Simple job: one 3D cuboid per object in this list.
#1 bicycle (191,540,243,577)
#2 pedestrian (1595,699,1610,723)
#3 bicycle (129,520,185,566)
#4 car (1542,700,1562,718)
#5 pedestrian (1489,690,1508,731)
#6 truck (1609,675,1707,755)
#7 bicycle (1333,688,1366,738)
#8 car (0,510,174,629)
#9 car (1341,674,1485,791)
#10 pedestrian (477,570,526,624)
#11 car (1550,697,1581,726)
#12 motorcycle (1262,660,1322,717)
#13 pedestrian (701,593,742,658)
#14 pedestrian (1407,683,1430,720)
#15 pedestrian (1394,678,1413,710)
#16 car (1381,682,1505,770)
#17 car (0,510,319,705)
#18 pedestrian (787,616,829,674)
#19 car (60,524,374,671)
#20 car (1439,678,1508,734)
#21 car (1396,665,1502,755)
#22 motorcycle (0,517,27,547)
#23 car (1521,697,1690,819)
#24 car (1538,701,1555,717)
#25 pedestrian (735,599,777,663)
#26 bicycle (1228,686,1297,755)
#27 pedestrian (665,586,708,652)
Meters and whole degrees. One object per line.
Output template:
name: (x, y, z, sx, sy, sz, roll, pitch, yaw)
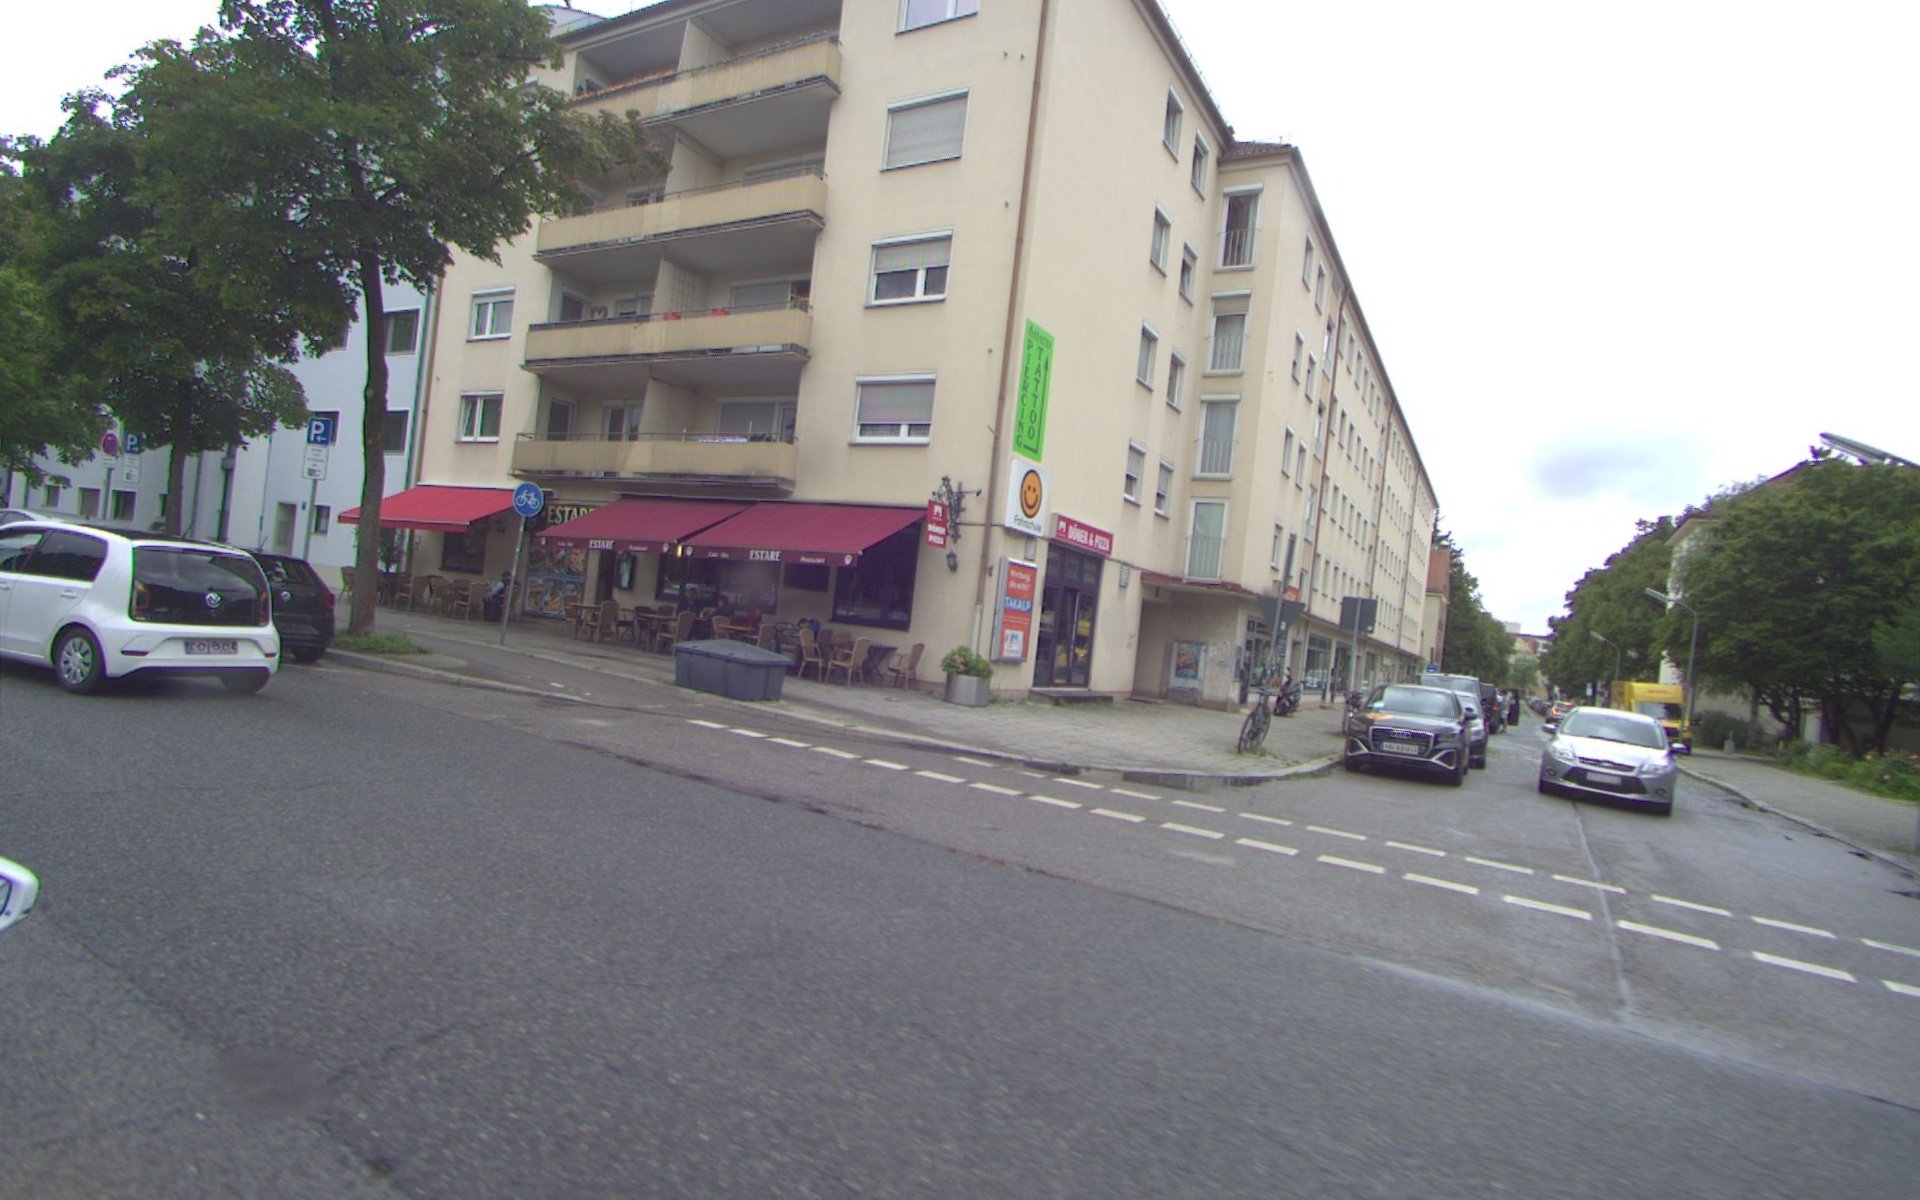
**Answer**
bicycle: (-24.275, -1.362, 32.843, 2.159, 1.061, 0.621, 6, 3, 33)
pedestrian: (57.678, 9.976, 90.283, 0.893, 2.038, 1.077, 6, -1, 33)
bicycle: (-28.295, -2.022, 35.423, 2.550, 1.425, 0.703, 6, 2, 33)
car: (61.548, 11.275, 104.566, 1.573, 1.638, 3.763, 6, -2, 31)
pedestrian: (21.329, 4.382, 39.843, 0.486, 1.551, 0.733, 6, -1, 32)
truck: (28.806, 4.674, 41.751, 2.237, 2.803, 6.763, 5, -2, 27)
bicycle: (9.383, 2.690, 24.187, 0.544, 1.097, 1.880, 6, -1, 24)
car: (-14.787, -0.588, 16.179, 4.448, 1.540, 1.832, 6, -1, 31)
car: (7.831, 2.186, 17.184, 1.701, 1.537, 3.932, 6, -2, 31)
pedestrian: (-11.065, -0.064, 24.298, 0.636, 1.177, 0.744, 6, -1, 32)
car: (40.382, 7.419, 67.145, 1.573, 1.638, 3.763, 6, -2, 31)
motorcycle: (9.631, 2.572, 29.060, 0.875, 1.459, 3.258, 6, -2, 30)
pedestrian: (-4.997, 0.535, 21.080, 0.479, 1.283, 0.539, 6, 0, 31)
pedestrian: (18.785, 4.149, 41.199, 0.721, 1.427, 0.494, 6, 0, 28)
pedestrian: (22.580, 4.808, 51.225, 0.710, 1.532, 0.424, 6, 0, 30)
car: (10.529, 2.666, 21.761, 1.967, 1.459, 3.994, 6, -2, 31)
car: (-8.385, 0.004, 9.774, 3.369, 1.507, 1.693, 7, -1, 15)
pedestrian: (-2.965, 0.876, 19.644, 0.479, 1.066, 0.538, 6, -1, 32)
car: (-10.063, -0.042, 13.612, 3.820, 1.490, 1.834, 6, -1, 28)
car: (20.301, 4.141, 39.965, 2.117, 1.806, 4.998, 6, -2, 26)
car: (12.988, 2.863, 26.522, 1.967, 1.907, 4.993, 6, -2, 31)
motorcycle: (-40.171, -2.895, 42.346, 2.163, 1.099, 0.762, 6, 0, 33)
car: (10.673, 2.498, 16.559, 1.969, 1.459, 4.211, 6, -2, 35)
car: (67.824, 12.565, 116.343, 1.573, 1.638, 3.763, 6, -2, 31)
pedestrian: (-4.174, 0.632, 20.577, 0.479, 1.229, 0.538, 6, 0, 32)
bicycle: (5.037, 1.988, 16.690, 0.545, 1.023, 1.540, 6, -1, 35)
pedestrian: (-5.929, 0.415, 21.841, 0.543, 1.355, 0.539, 6, 0, 31)
